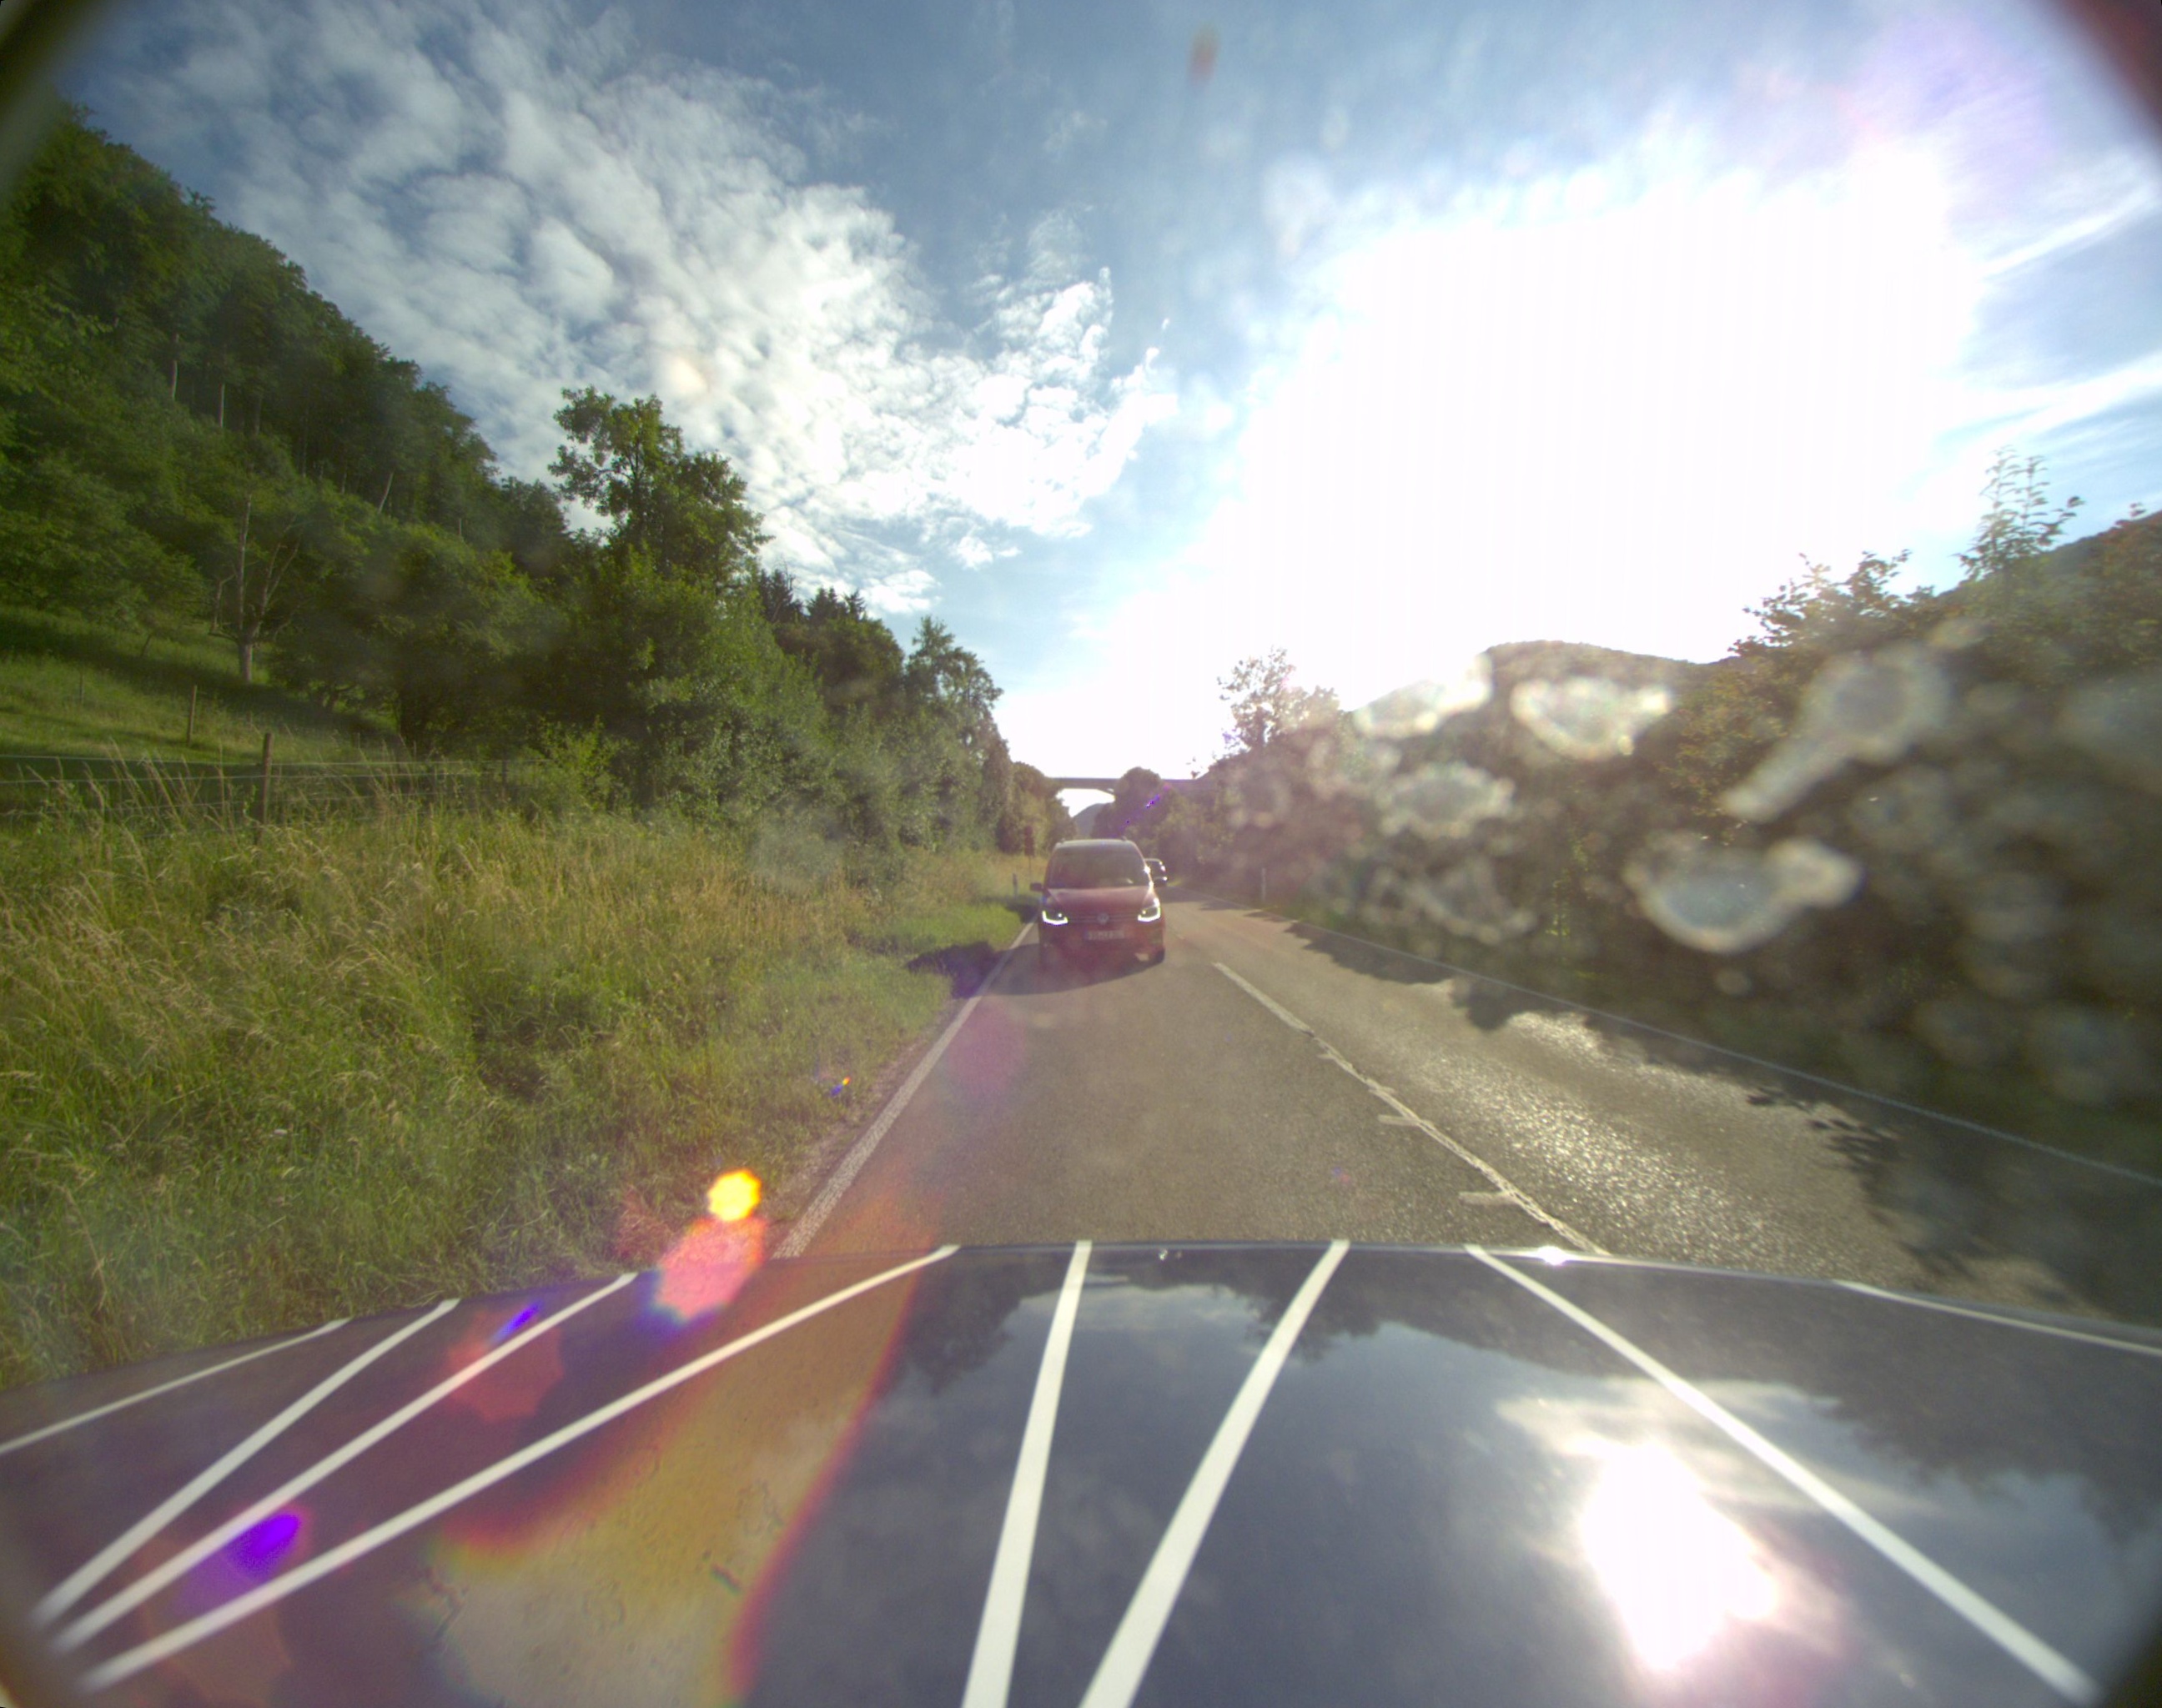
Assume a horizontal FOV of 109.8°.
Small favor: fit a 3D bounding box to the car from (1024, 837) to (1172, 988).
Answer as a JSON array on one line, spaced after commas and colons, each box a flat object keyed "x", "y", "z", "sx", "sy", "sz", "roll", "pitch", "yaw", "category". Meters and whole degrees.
[{"x": 0.227, "y": 0.710, "z": 11.549, "sx": 1.753, "sy": 1.799, "sz": 4.287, "roll": -3, "pitch": 1, "yaw": 0, "category": "car"}]

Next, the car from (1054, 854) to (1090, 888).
[{"x": -0.429, "y": 0.884, "z": 40.743, "sx": 1.753, "sy": 1.608, "sz": 4.287, "roll": -3, "pitch": 1, "yaw": 0, "category": "car"}]

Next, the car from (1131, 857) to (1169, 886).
[{"x": 3.547, "y": 0.875, "z": 39.644, "sx": 1.631, "sy": 1.407, "sz": 3.789, "roll": 0, "pitch": 1, "yaw": 0, "category": "car"}]
